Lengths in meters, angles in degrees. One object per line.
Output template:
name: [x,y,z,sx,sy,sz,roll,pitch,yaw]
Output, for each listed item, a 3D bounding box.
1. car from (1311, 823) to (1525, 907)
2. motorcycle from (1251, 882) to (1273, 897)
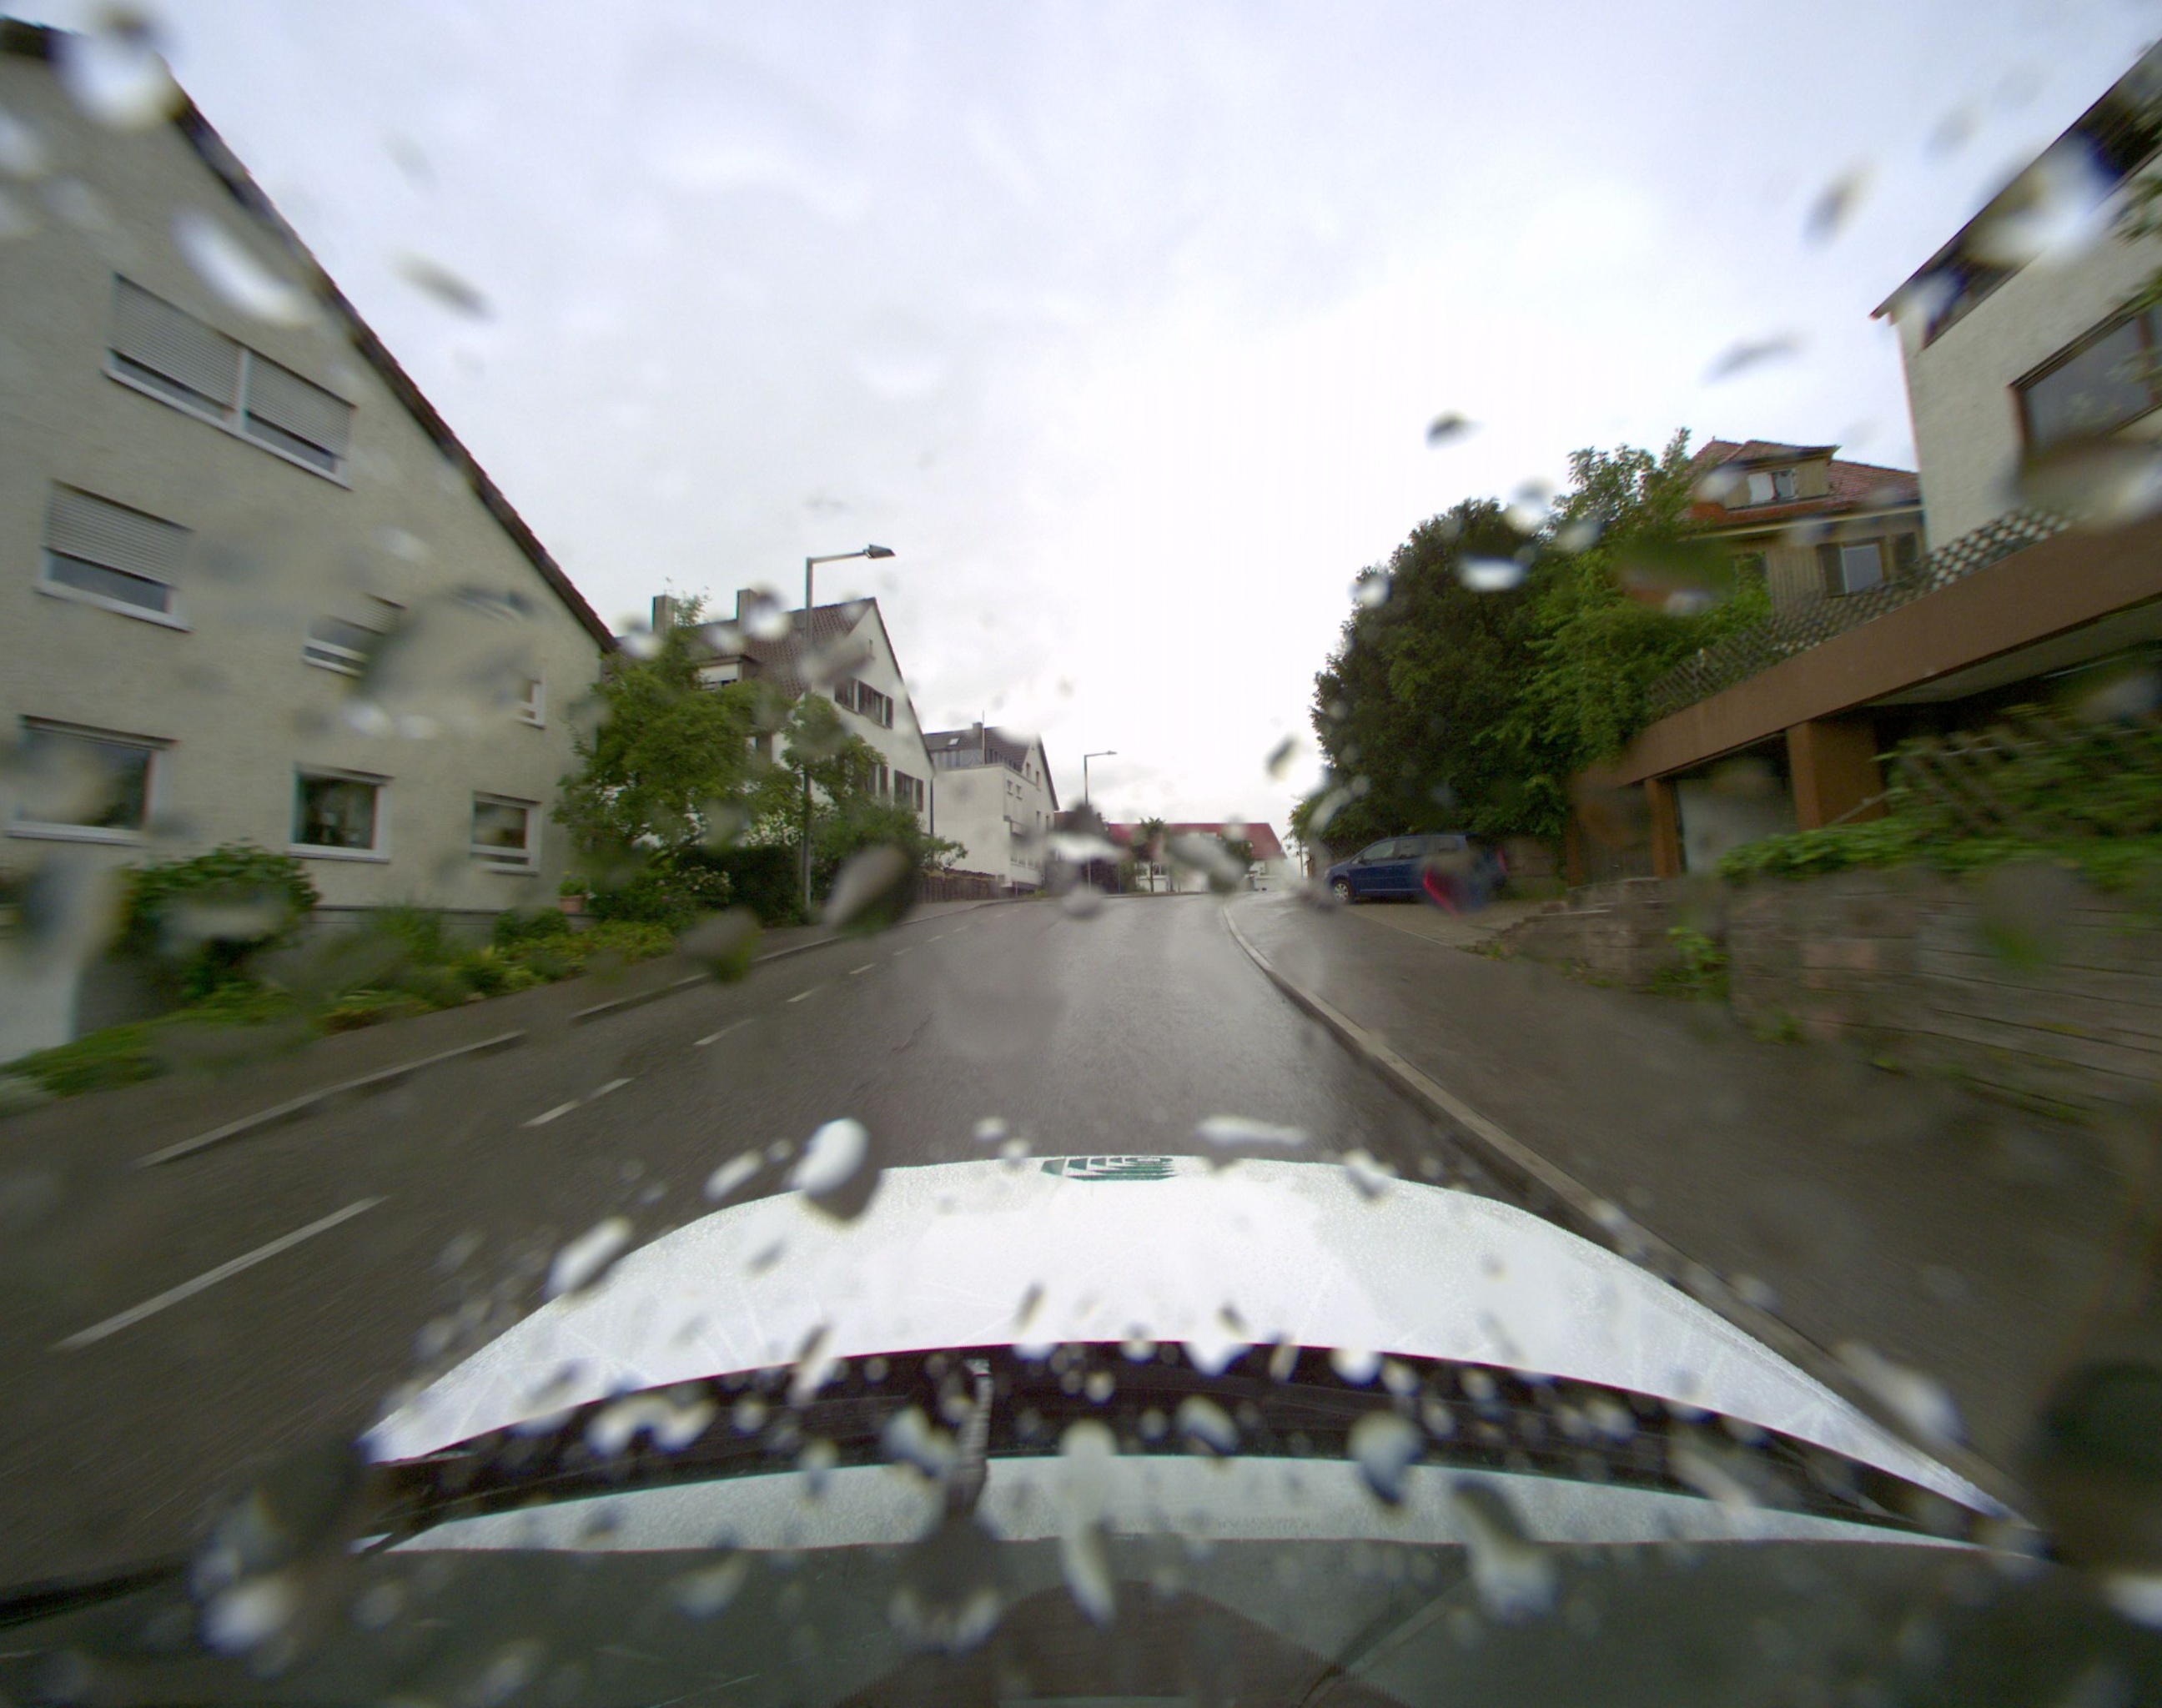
car: [7.999,0.313,19.659,1.866,1.606,4.289,-7,0,-38]
motorcycle: [17.030,3.338,76.508,2.054,1.322,0.701,-1,-6,-34]
